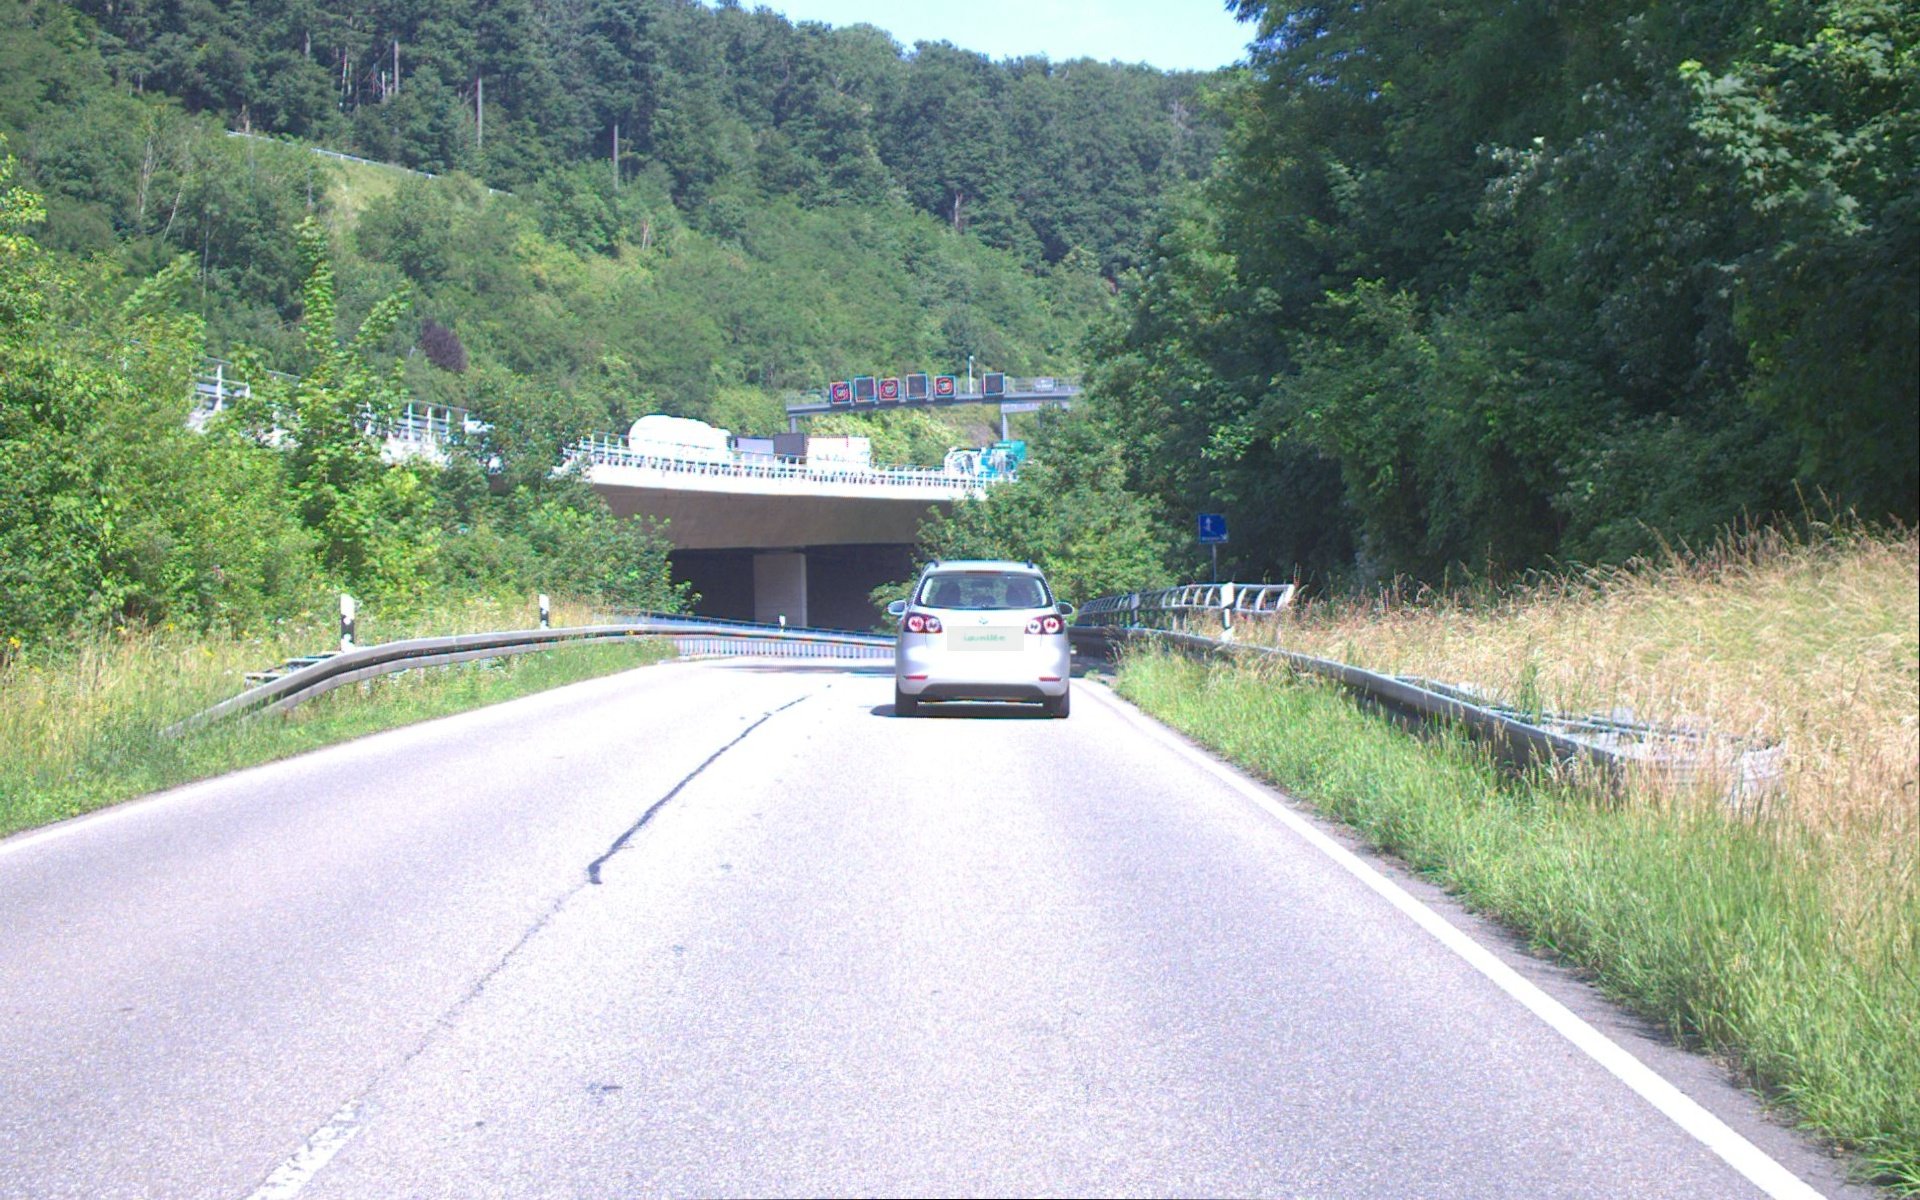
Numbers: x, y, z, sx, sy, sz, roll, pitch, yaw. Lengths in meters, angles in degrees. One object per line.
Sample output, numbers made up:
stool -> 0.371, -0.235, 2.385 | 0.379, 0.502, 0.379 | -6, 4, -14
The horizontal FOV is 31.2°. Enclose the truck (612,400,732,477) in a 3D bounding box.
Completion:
truck -> -13.996, -7.833, 167.827 | 3.371, 3.343, 10.172 | 1, 1, 10

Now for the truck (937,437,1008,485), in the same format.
truck -> 0.969, -10.359, 257.089 | 3.542, 3.412, 9.895 | 0, 1, 10

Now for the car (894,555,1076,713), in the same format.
car -> 0.249, 0.327, 35.201 | 1.751, 1.515, 4.159 | 0, 0, 0

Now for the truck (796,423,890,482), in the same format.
truck -> -7.175, -9.084, 212.818 | 3.761, 3.373, 10.503 | 0, 1, 10
